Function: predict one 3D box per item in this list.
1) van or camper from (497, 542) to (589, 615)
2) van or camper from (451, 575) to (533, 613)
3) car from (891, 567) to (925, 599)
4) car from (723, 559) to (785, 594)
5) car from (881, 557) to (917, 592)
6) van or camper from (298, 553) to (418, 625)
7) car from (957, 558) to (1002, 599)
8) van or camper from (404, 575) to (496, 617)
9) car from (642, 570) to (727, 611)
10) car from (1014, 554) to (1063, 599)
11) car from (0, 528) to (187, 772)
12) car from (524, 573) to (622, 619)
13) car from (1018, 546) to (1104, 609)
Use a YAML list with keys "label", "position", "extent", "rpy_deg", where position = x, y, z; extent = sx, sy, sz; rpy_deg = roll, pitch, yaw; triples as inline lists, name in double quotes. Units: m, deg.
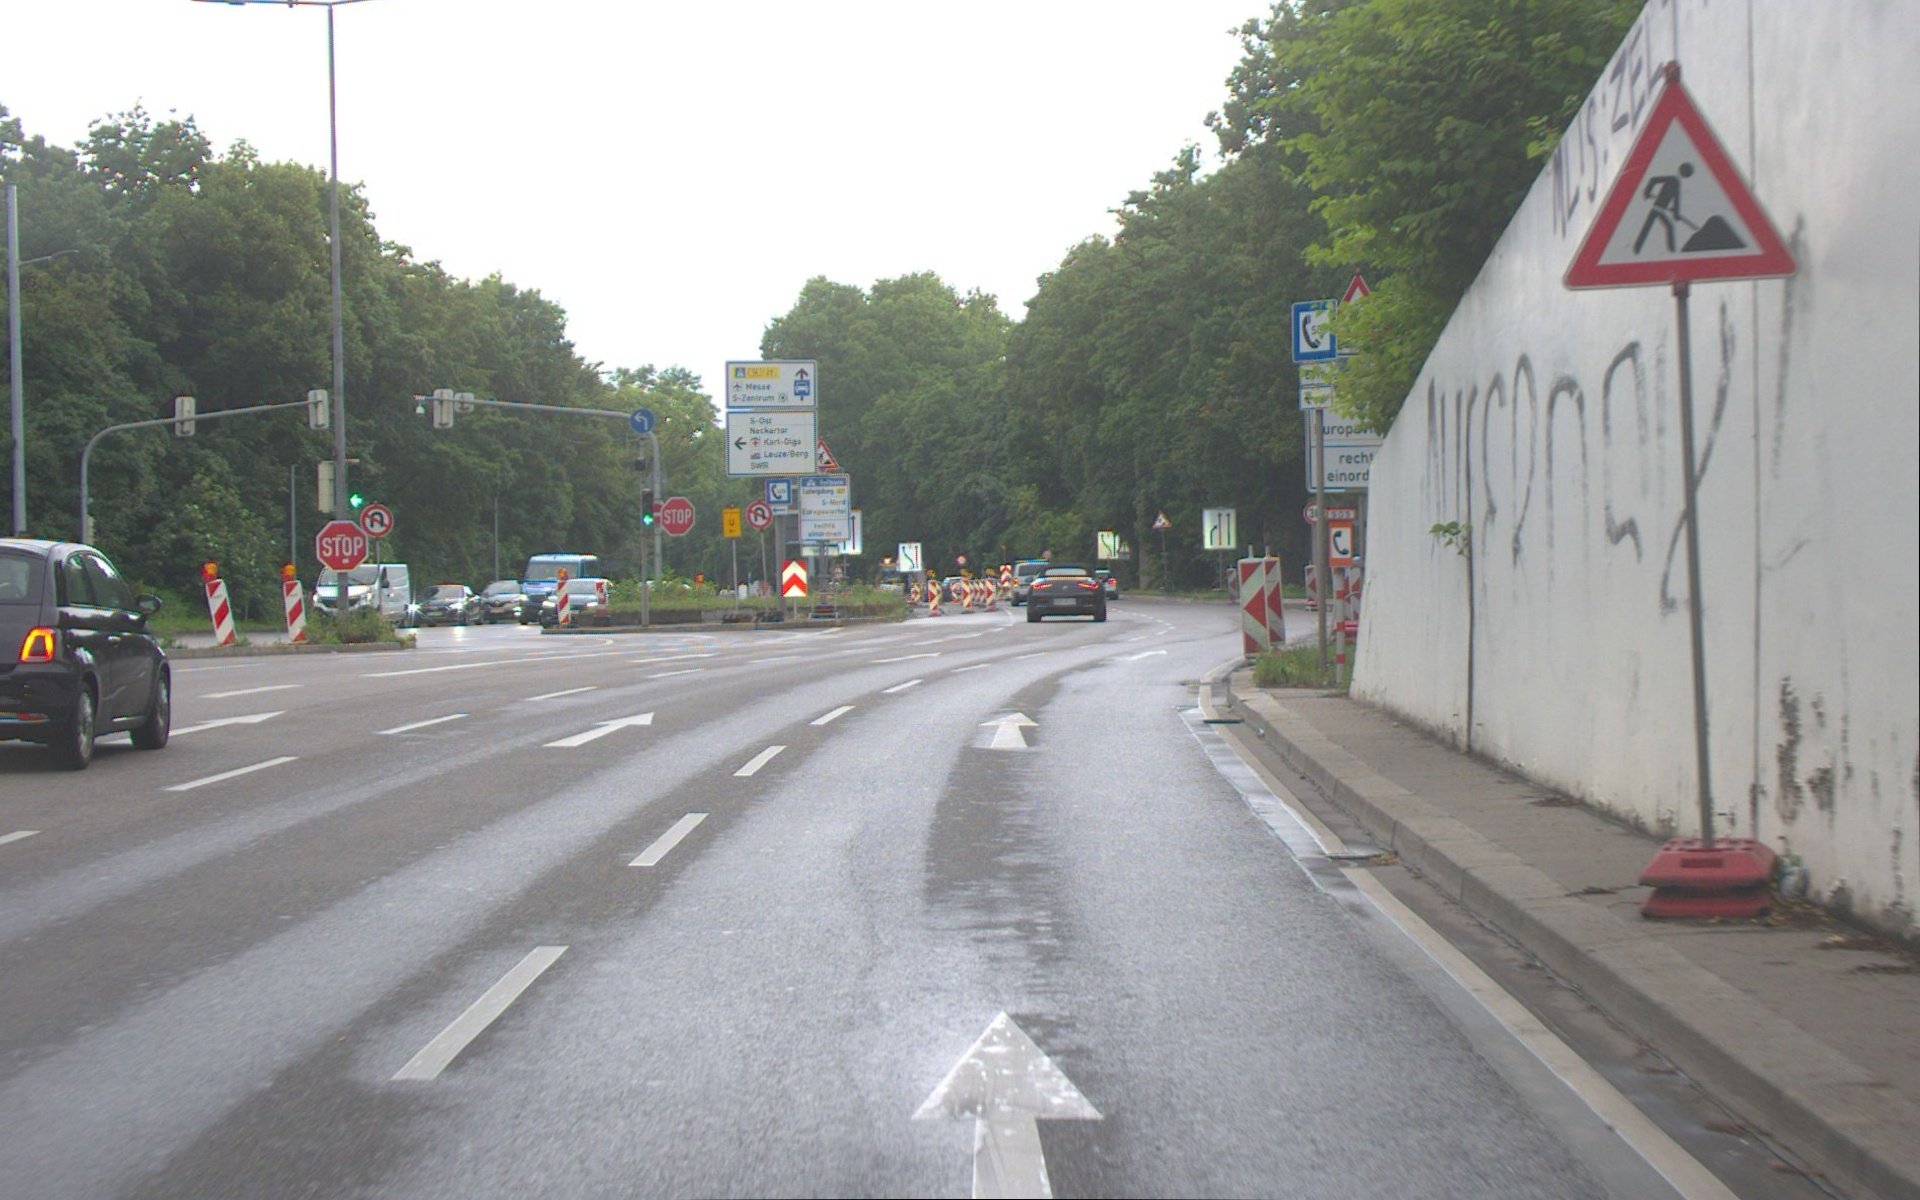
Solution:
- label: "van or camper"
  position: [-13.903, -0.720, 114.775]
  extent: [2.129, 2.340, 4.426]
  rpy_deg: [-1, 0, 5]
- label: "van or camper"
  position: [-16.606, -0.217, 122.130]
  extent: [2.009, 1.297, 4.091]
  rpy_deg: [-1, 0, 5]
- label: "car"
  position: [-3.262, -1.087, 215.490]
  extent: [1.993, 2.007, 4.000]
  rpy_deg: [0, 1, -2]
- label: "car"
  position: [-7.996, -0.904, 133.664]
  extent: [2.009, 1.297, 4.315]
  rpy_deg: [-1, 0, 2]
- label: "car"
  position: [-3.554, -1.510, 200.624]
  extent: [1.993, 2.007, 4.000]
  rpy_deg: [0, 1, -2]
- label: "van or camper"
  position: [-17.497, -0.337, 100.164]
  extent: [2.129, 2.007, 5.313]
  rpy_deg: [-1, 0, 5]
- label: "car"
  position: [0.934, -1.060, 167.744]
  extent: [1.993, 2.007, 4.000]
  rpy_deg: [0, 1, -2]
- label: "van or camper"
  position: [-16.504, -0.143, 111.390]
  extent: [2.009, 1.297, 4.091]
  rpy_deg: [-1, 0, 5]
- label: "car"
  position: [-8.886, -0.320, 111.256]
  extent: [2.009, 1.297, 4.315]
  rpy_deg: [-1, 0, 5]
- label: "car"
  position: [3.564, -1.088, 156.482]
  extent: [1.993, 2.007, 4.000]
  rpy_deg: [0, 1, -2]
- label: "car"
  position: [-6.318, 0.271, 22.933]
  extent: [1.612, 1.449, 3.573]
  rpy_deg: [1, 2, -2]
- label: "car"
  position: [-11.187, -0.126, 99.639]
  extent: [2.009, 1.297, 4.315]
  rpy_deg: [-1, 0, 5]
- label: "car"
  position: [2.441, -0.548, 82.590]
  extent: [1.993, 1.443, 4.314]
  rpy_deg: [-1, 0, 2]
